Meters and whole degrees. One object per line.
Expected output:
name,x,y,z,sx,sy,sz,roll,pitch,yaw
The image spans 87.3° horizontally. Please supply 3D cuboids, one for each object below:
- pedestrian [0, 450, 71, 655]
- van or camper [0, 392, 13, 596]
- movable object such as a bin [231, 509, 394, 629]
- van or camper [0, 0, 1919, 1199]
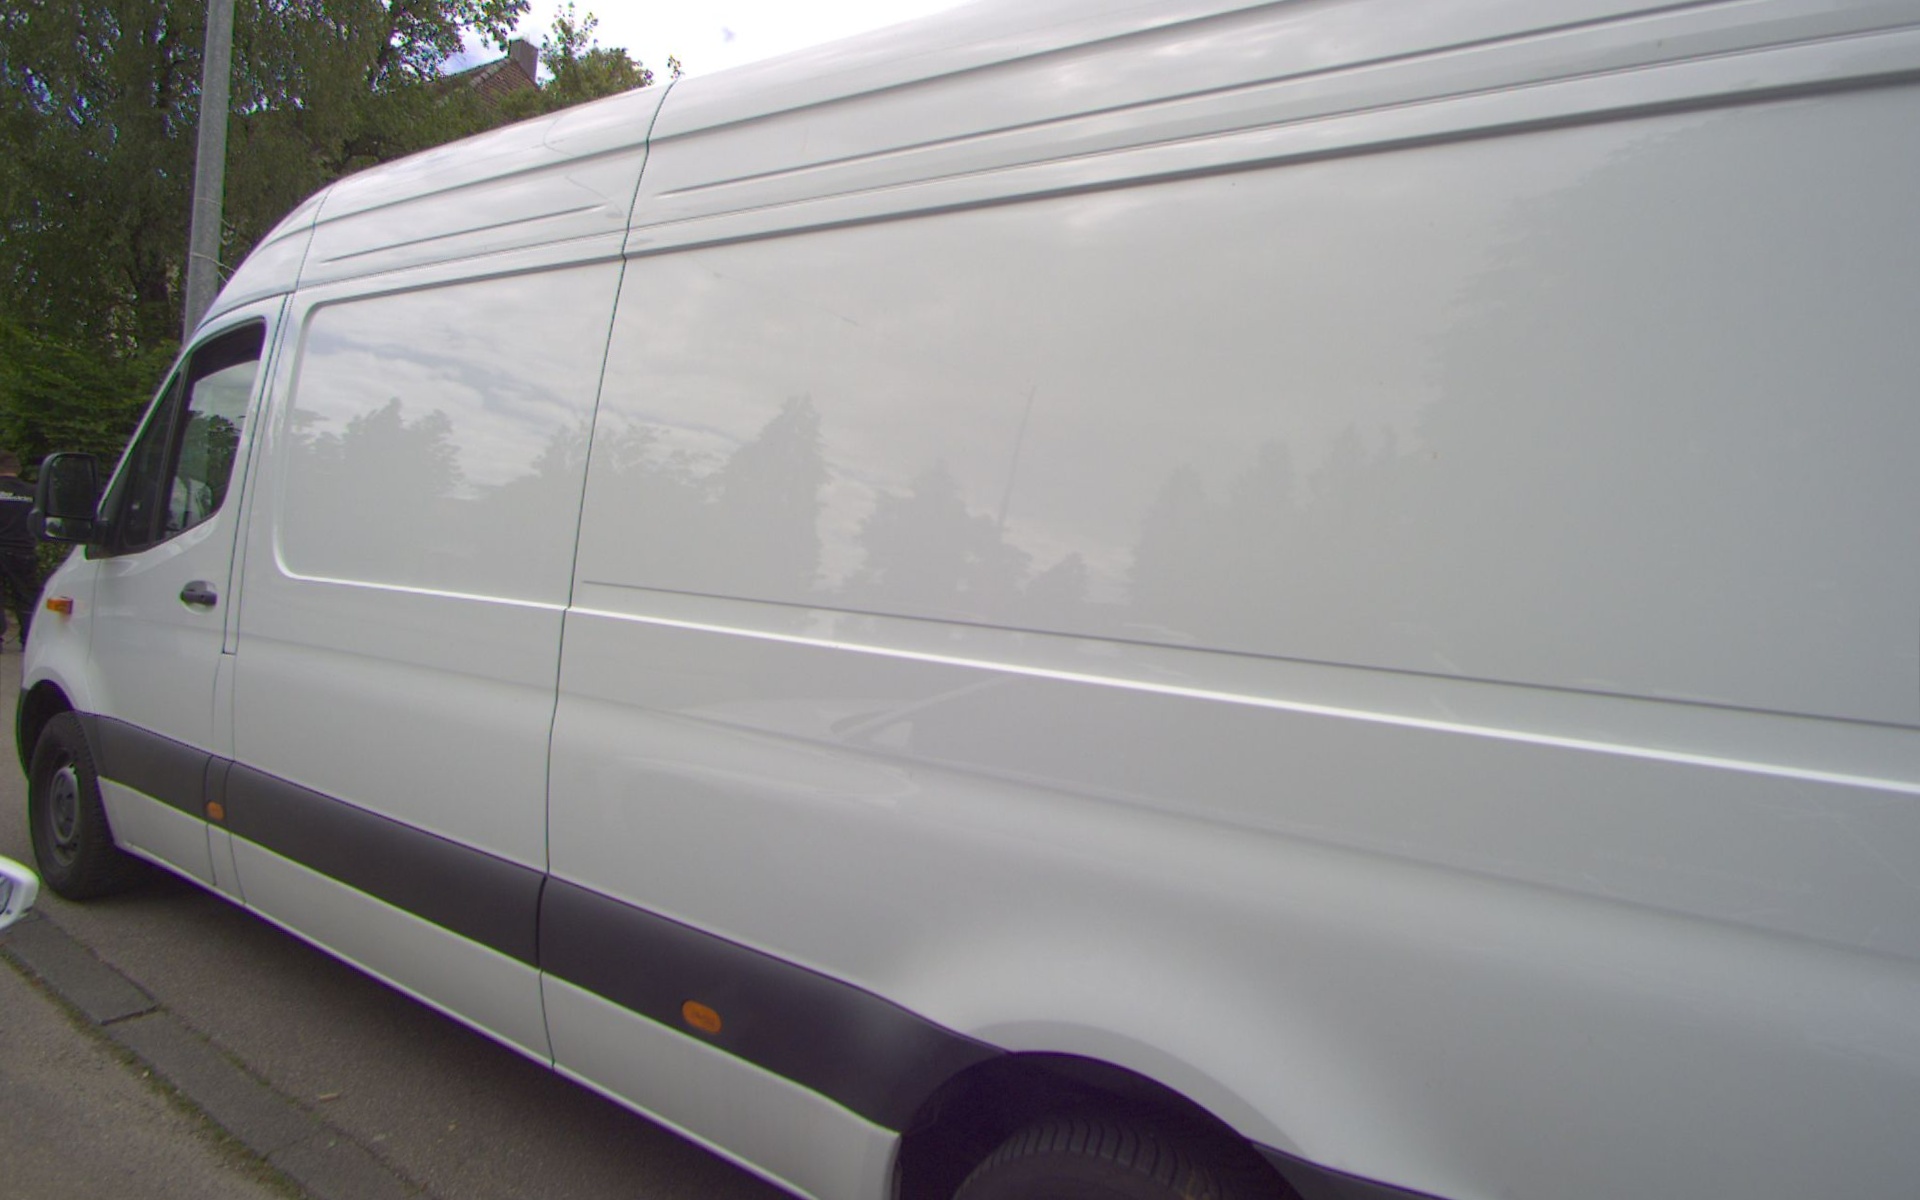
pedestrian,-8.540,-0.428,8.963,0.644,1.773,0.648,6,1,29
van or camper,-15.282,-1.564,13.217,6.491,2.529,2.340,5,3,29
movable object such as a bin,-8.847,-0.403,13.773,1.276,1.482,1.420,7,3,31
van or camper,-0.784,-0.013,3.063,6.436,2.661,1.990,6,3,32
